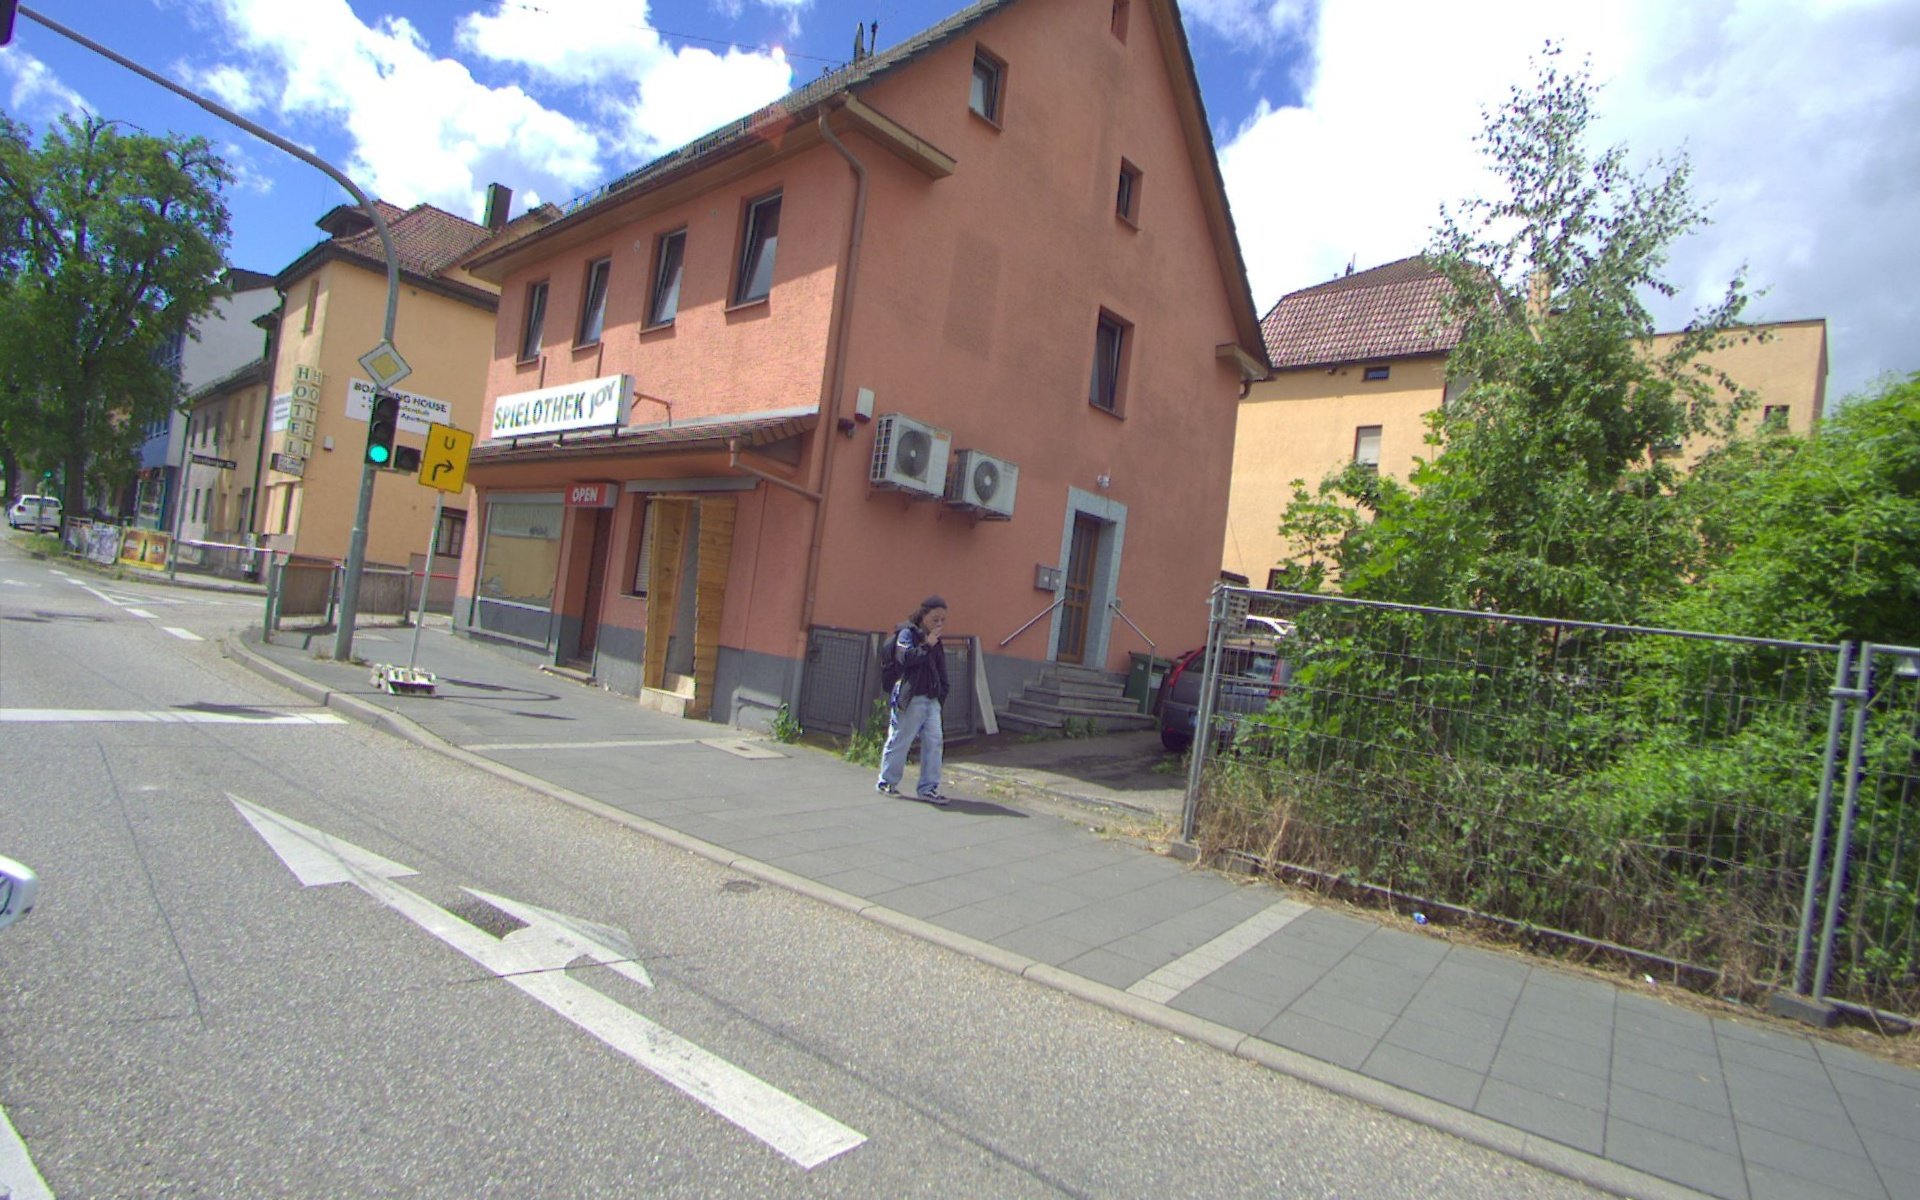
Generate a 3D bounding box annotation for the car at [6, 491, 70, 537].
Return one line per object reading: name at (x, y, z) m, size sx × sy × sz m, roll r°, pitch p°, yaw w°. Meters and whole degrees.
car at (-39.439, -3.679, 43.017) m, size 1.782 × 1.615 × 3.950 m, roll 7°, pitch -1°, yaw -45°

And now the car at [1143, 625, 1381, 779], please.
car at (3.795, 1.196, 12.480) m, size 1.627 × 1.516 × 2.796 m, roll 7°, pitch 2°, yaw 43°

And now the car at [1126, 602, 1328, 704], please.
car at (6.212, 1.216, 23.646) m, size 3.947 × 1.804 × 1.990 m, roll 7°, pitch -1°, yaw 44°

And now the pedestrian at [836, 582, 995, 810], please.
pedestrian at (-0.357, 0.758, 8.109) m, size 0.767 × 1.663 × 0.762 m, roll 9°, pitch 1°, yaw 43°
